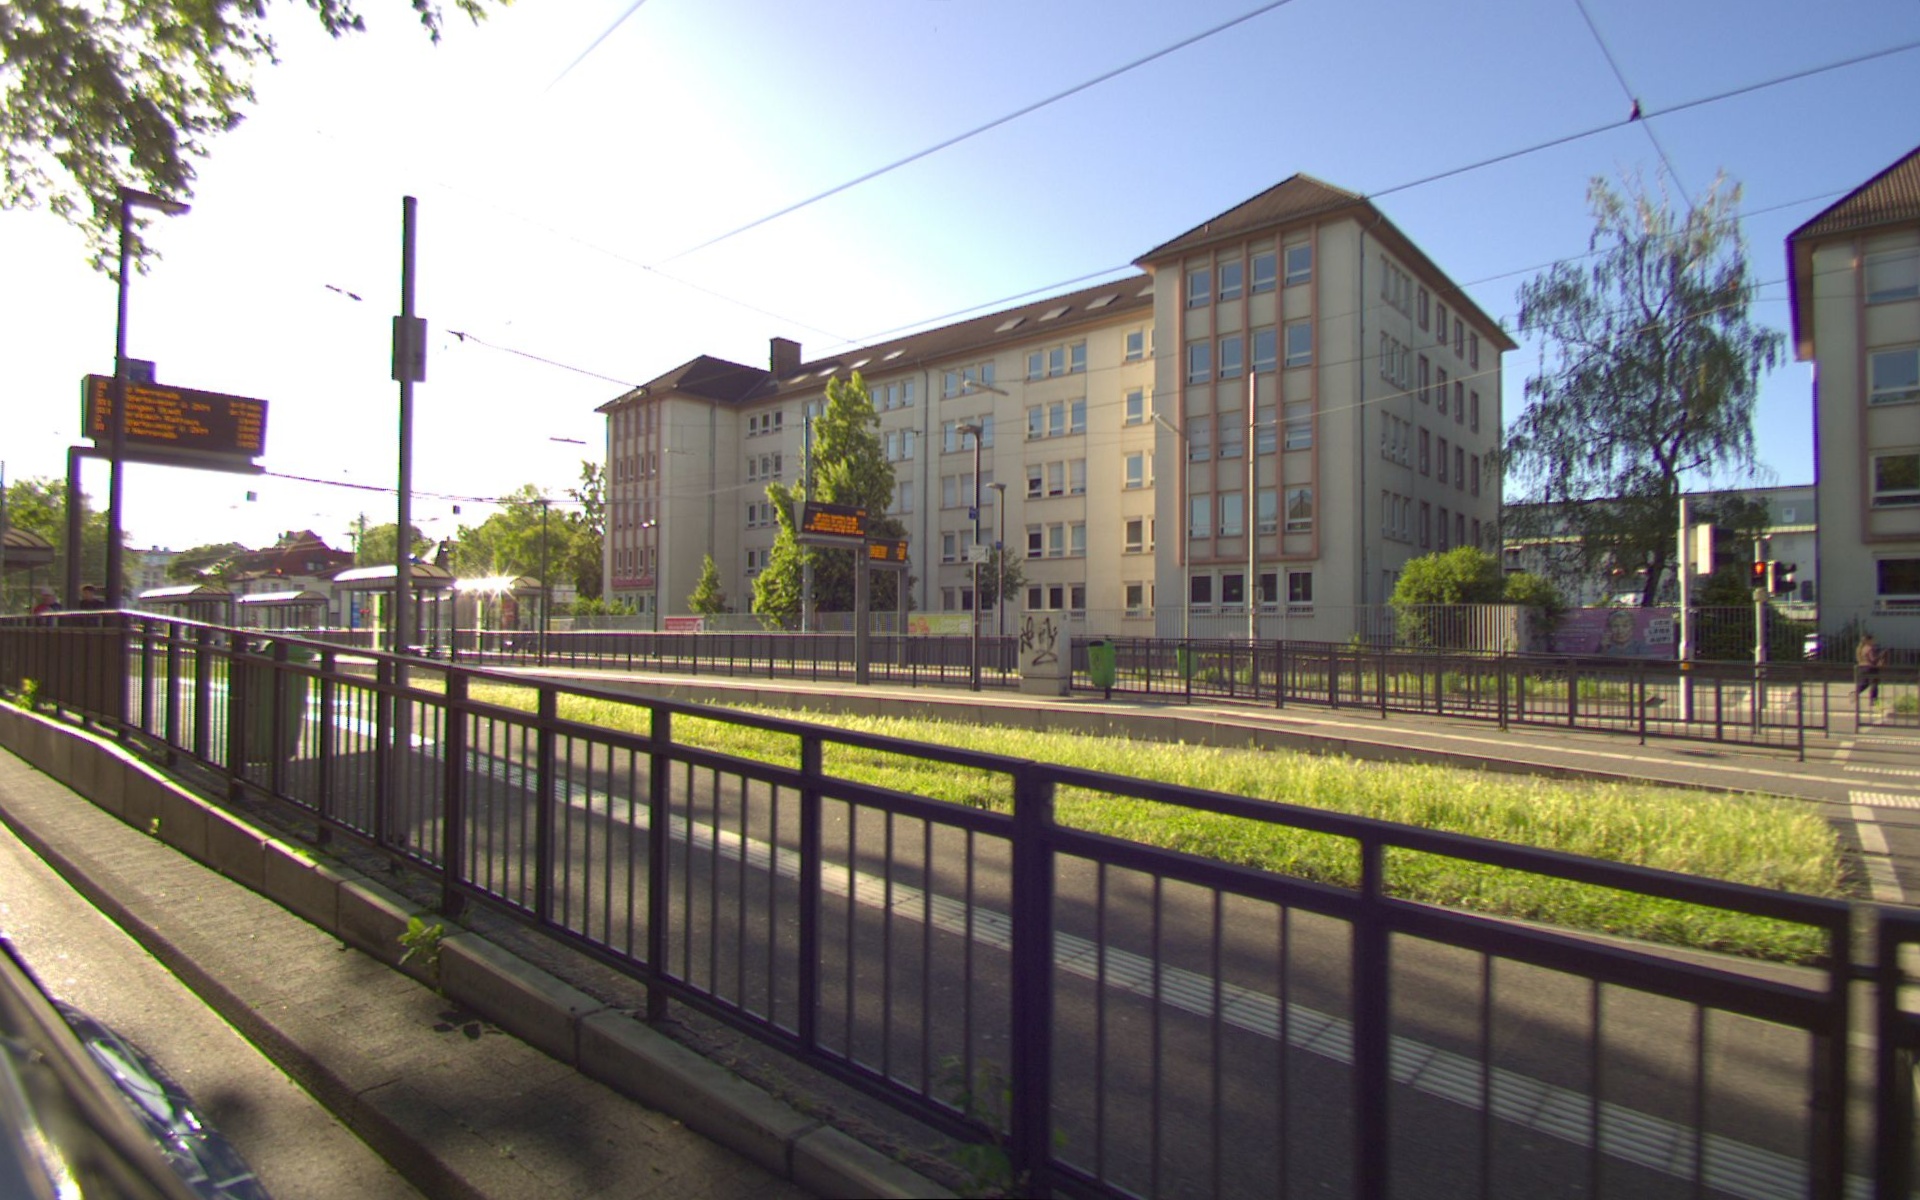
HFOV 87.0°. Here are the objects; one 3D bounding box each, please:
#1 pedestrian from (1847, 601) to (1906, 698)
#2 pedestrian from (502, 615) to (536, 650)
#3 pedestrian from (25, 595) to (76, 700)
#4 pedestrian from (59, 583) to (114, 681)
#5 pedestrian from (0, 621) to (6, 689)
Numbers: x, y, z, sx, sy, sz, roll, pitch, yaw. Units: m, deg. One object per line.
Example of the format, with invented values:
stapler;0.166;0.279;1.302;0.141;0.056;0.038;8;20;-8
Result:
pedestrian;19.660;1.051;21.727;0.860;2.029;0.656;-2;-3;40
pedestrian;-17.743;1.294;40.710;0.878;1.386;0.965;-2;-2;40
pedestrian;-17.981;0.926;20.004;0.716;2.029;0.660;-2;-2;42
pedestrian;-16.546;0.598;19.172;0.754;1.797;0.674;-2;-2;42
pedestrian;-17.328;0.967;17.765;0.812;1.188;0.744;-2;-2;40
